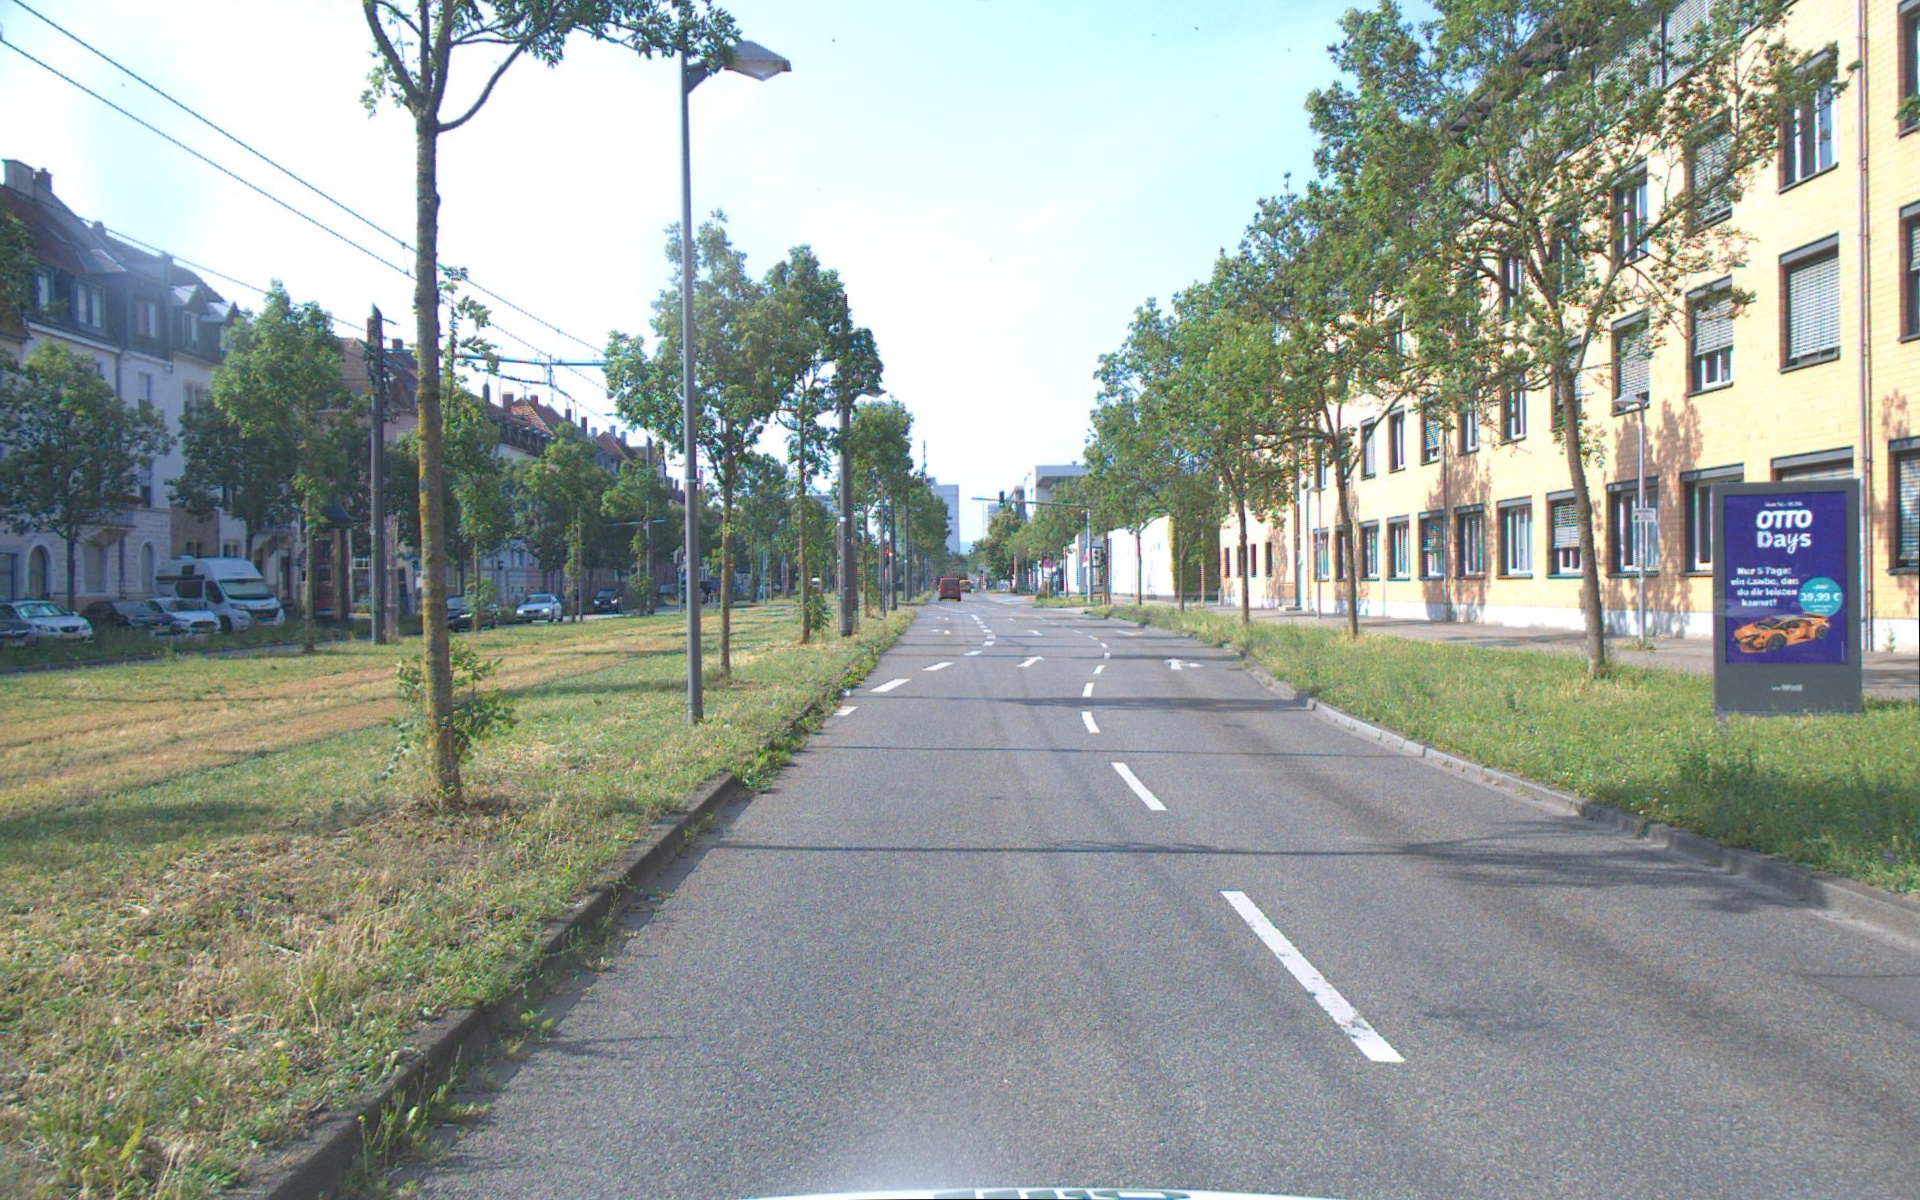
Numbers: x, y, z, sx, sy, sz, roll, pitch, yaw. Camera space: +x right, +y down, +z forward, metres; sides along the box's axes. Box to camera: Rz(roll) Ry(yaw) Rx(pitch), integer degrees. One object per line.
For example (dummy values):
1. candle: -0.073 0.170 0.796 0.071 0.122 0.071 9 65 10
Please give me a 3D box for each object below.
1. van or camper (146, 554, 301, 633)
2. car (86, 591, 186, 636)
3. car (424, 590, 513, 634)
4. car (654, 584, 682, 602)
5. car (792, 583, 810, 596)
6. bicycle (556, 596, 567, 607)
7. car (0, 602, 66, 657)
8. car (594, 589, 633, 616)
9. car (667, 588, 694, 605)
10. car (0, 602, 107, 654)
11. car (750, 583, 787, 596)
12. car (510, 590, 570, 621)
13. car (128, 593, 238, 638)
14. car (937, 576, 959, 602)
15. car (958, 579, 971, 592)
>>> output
1. van or camper: -25.812 -0.257 57.902 5.804 2.618 2.192 1 0 34
2. car: -25.605 0.409 51.349 3.624 1.263 1.651 2 0 44
3. car: -19.928 0.475 67.298 1.952 1.658 5.380 1 0 1
4. car: -28.392 -0.698 161.028 1.953 1.657 4.773 1 0 -2
5. car: -22.412 -1.421 233.259 1.924 1.723 4.299 2 0 3
6. bicycle: -30.792 0.129 127.799 0.438 0.872 1.947 1 0 -2
7. car: -24.111 0.683 41.013 3.603 1.263 1.660 2 0 27
8. car: -22.836 0.143 109.091 1.728 1.684 3.999 1 0 -1
9. car: -24.272 -0.290 143.641 1.775 1.458 3.925 1 0 -1
10. car: -24.803 0.727 44.446 3.932 1.339 1.657 0 -1 34
11. car: -27.583 -1.476 238.606 5.216 1.768 1.994 2 0 33
12. car: -21.098 0.264 83.201 1.908 1.485 4.646 2 0 -2
13. car: -25.605 0.497 54.481 3.611 1.355 1.657 2 0 34
14. car: -0.964 -0.923 136.890 1.712 2.049 3.215 1 0 0
15. car: 0.613 -1.958 224.161 1.712 1.679 3.215 1 0 0
